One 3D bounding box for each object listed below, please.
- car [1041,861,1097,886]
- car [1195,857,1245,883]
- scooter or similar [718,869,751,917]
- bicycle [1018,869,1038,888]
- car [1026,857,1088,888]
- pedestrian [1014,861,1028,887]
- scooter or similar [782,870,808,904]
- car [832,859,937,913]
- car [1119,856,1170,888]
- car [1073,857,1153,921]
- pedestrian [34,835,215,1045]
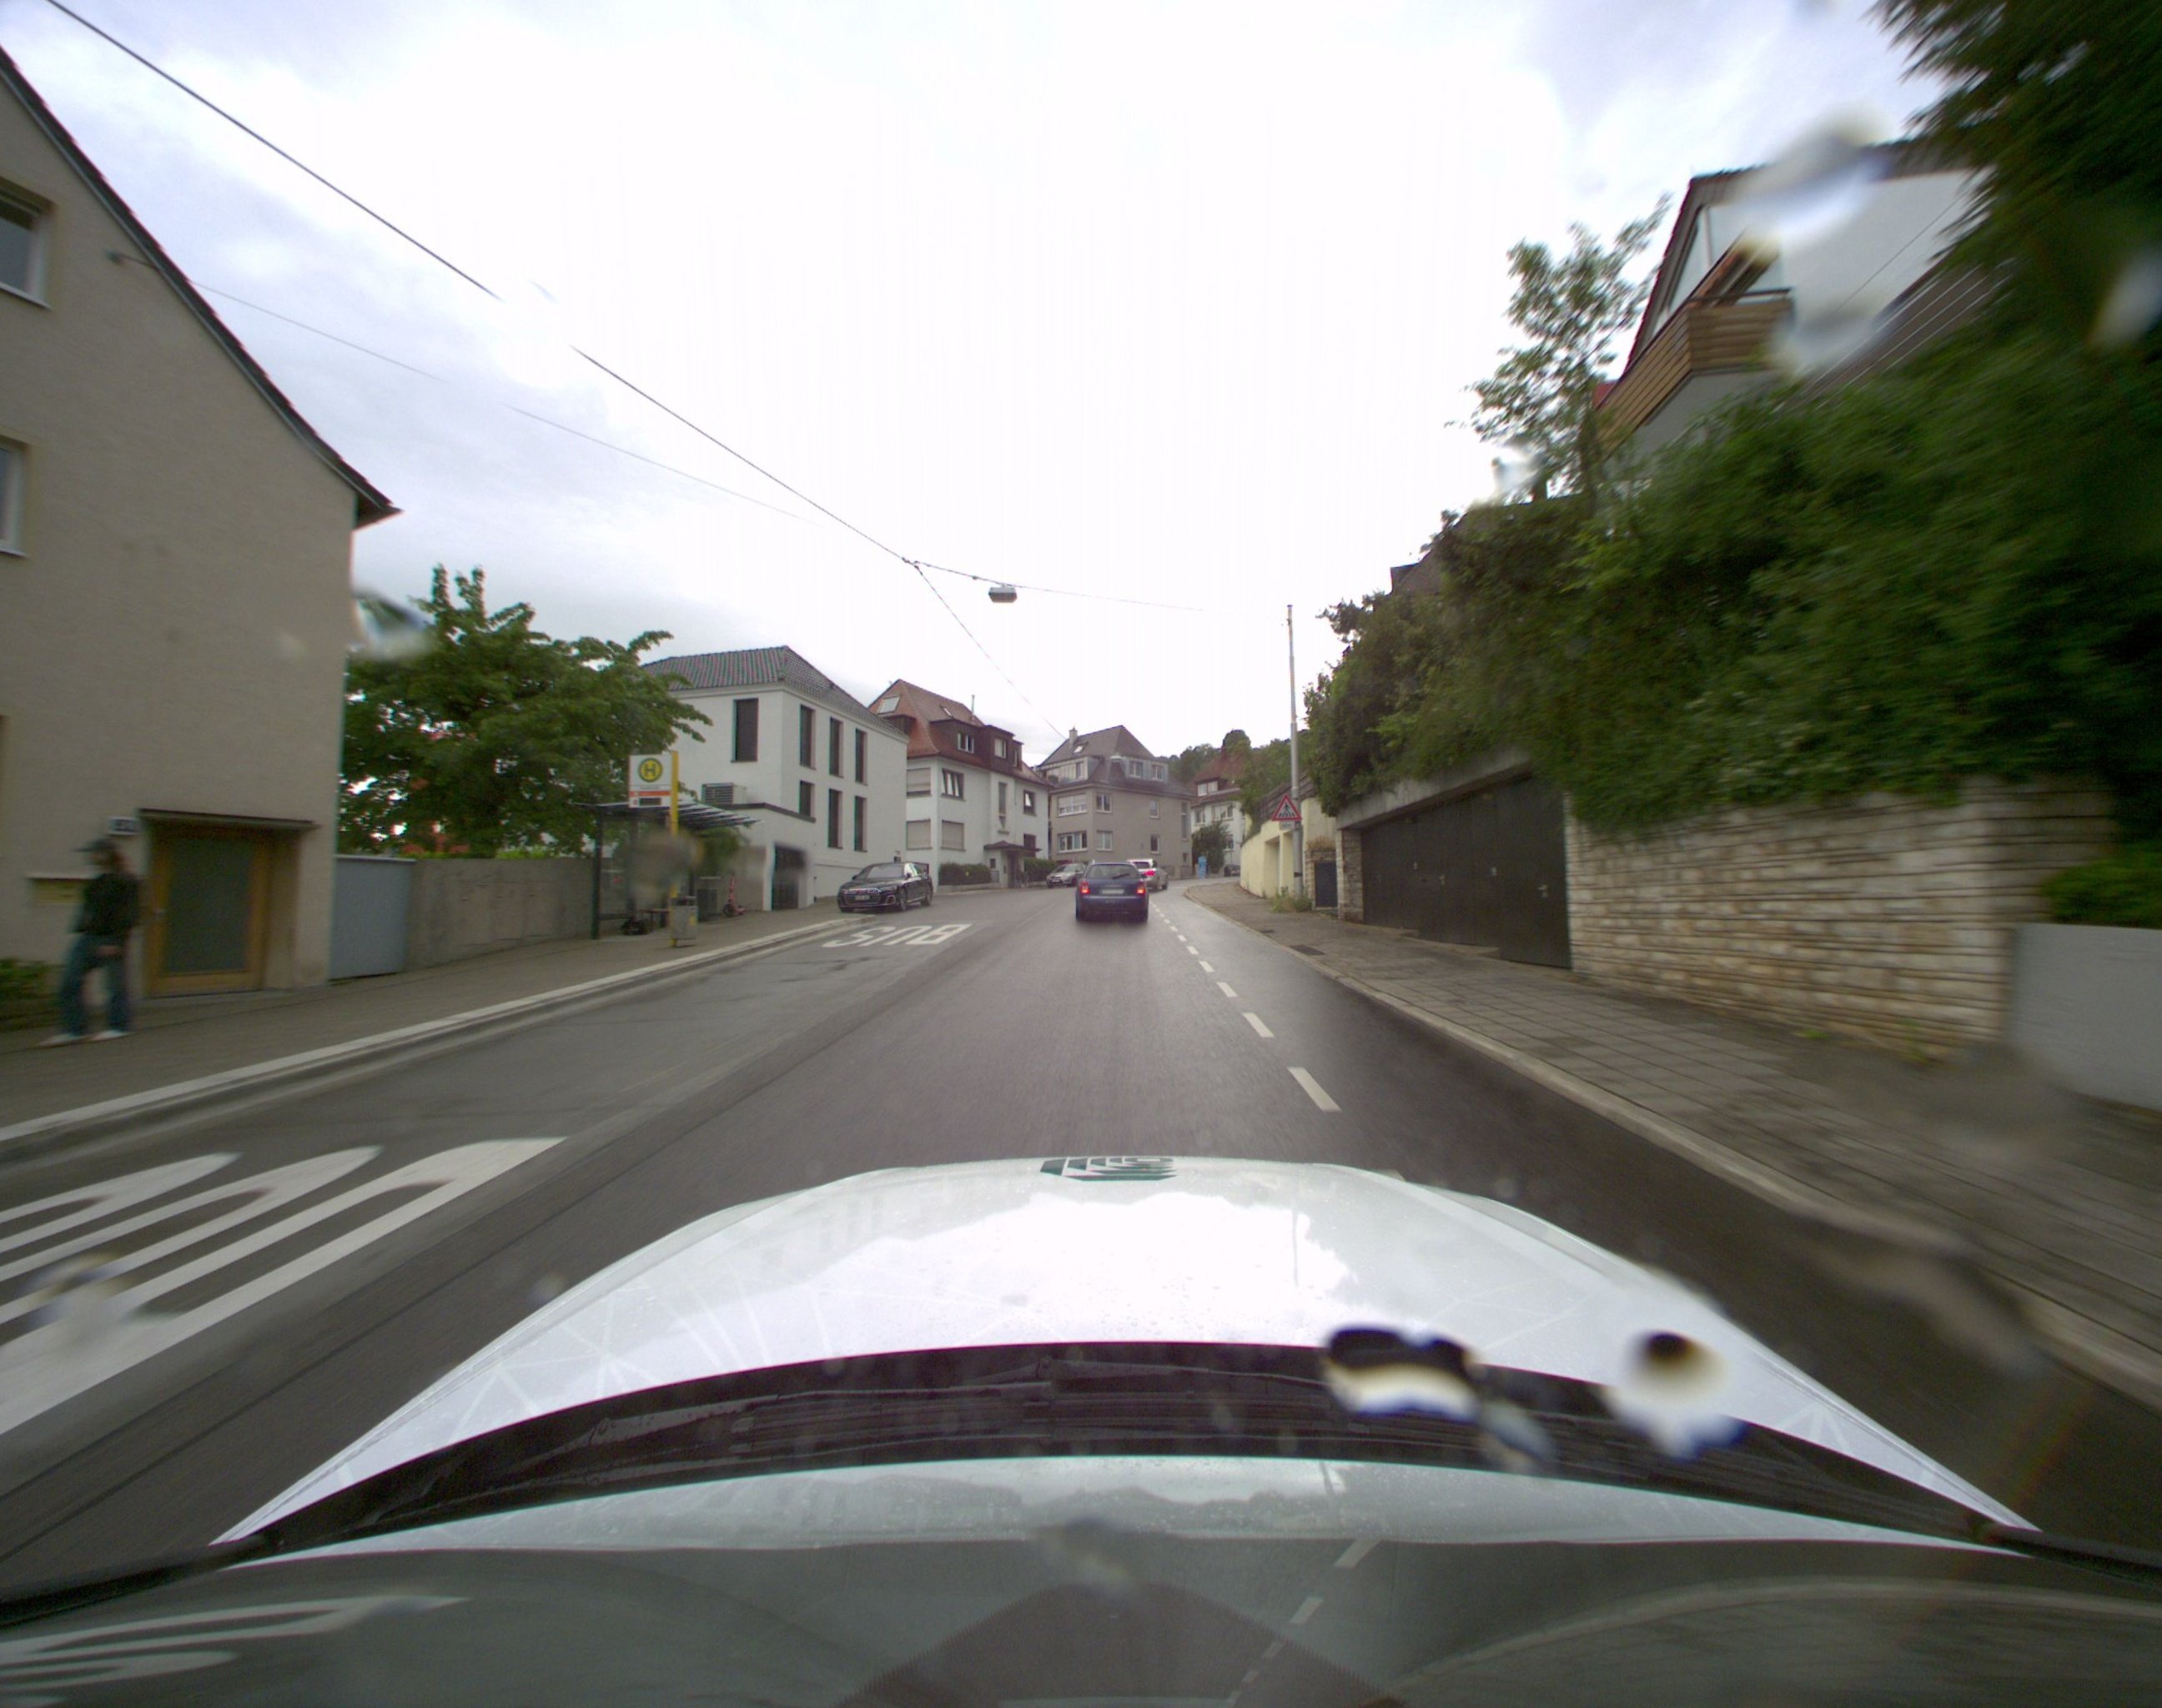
[{"bbox_3d":[-0.703,1.202,51.107,1.819,1.425,4.253,-4,-2,24],"label":"car"},{"bbox_3d":[12.693,1.494,74.516,2.008,1.624,4.208,-2,-9,-33],"label":"car"},{"bbox_3d":[-9.056,0.997,21.304,0.336,1.220,1.123,-1,-1,3],"label":"scooter or similar"},{"bbox_3d":[-3.246,1.497,50.302,0.452,1.067,1.931,-2,-1,21],"label":"bicycle"},{"bbox_3d":[-1.763,1.383,60.062,3.948,1.823,2.012,-7,-3,30],"label":"car"},{"bbox_3d":[-3.697,1.230,50.479,0.488,1.577,0.952,-2,-1,20],"label":"pedestrian"},{"bbox_3d":[-9.912,1.124,28.212,0.428,1.110,1.312,-1,-1,0],"label":"scooter or similar"},{"bbox_3d":[-6.114,0.965,26.002,1.821,1.486,4.995,-2,-1,3],"label":"car"},{"bbox_3d":[2.951,0.848,37.177,1.799,1.361,4.012,0,-2,12],"label":"car"},{"bbox_3d":[0.823,0.807,20.516,1.804,1.439,4.084,0,0,3],"label":"car"},{"bbox_3d":[-8.891,0.767,7.606,0.783,1.857,0.728,0,-1,2],"label":"pedestrian"}]
